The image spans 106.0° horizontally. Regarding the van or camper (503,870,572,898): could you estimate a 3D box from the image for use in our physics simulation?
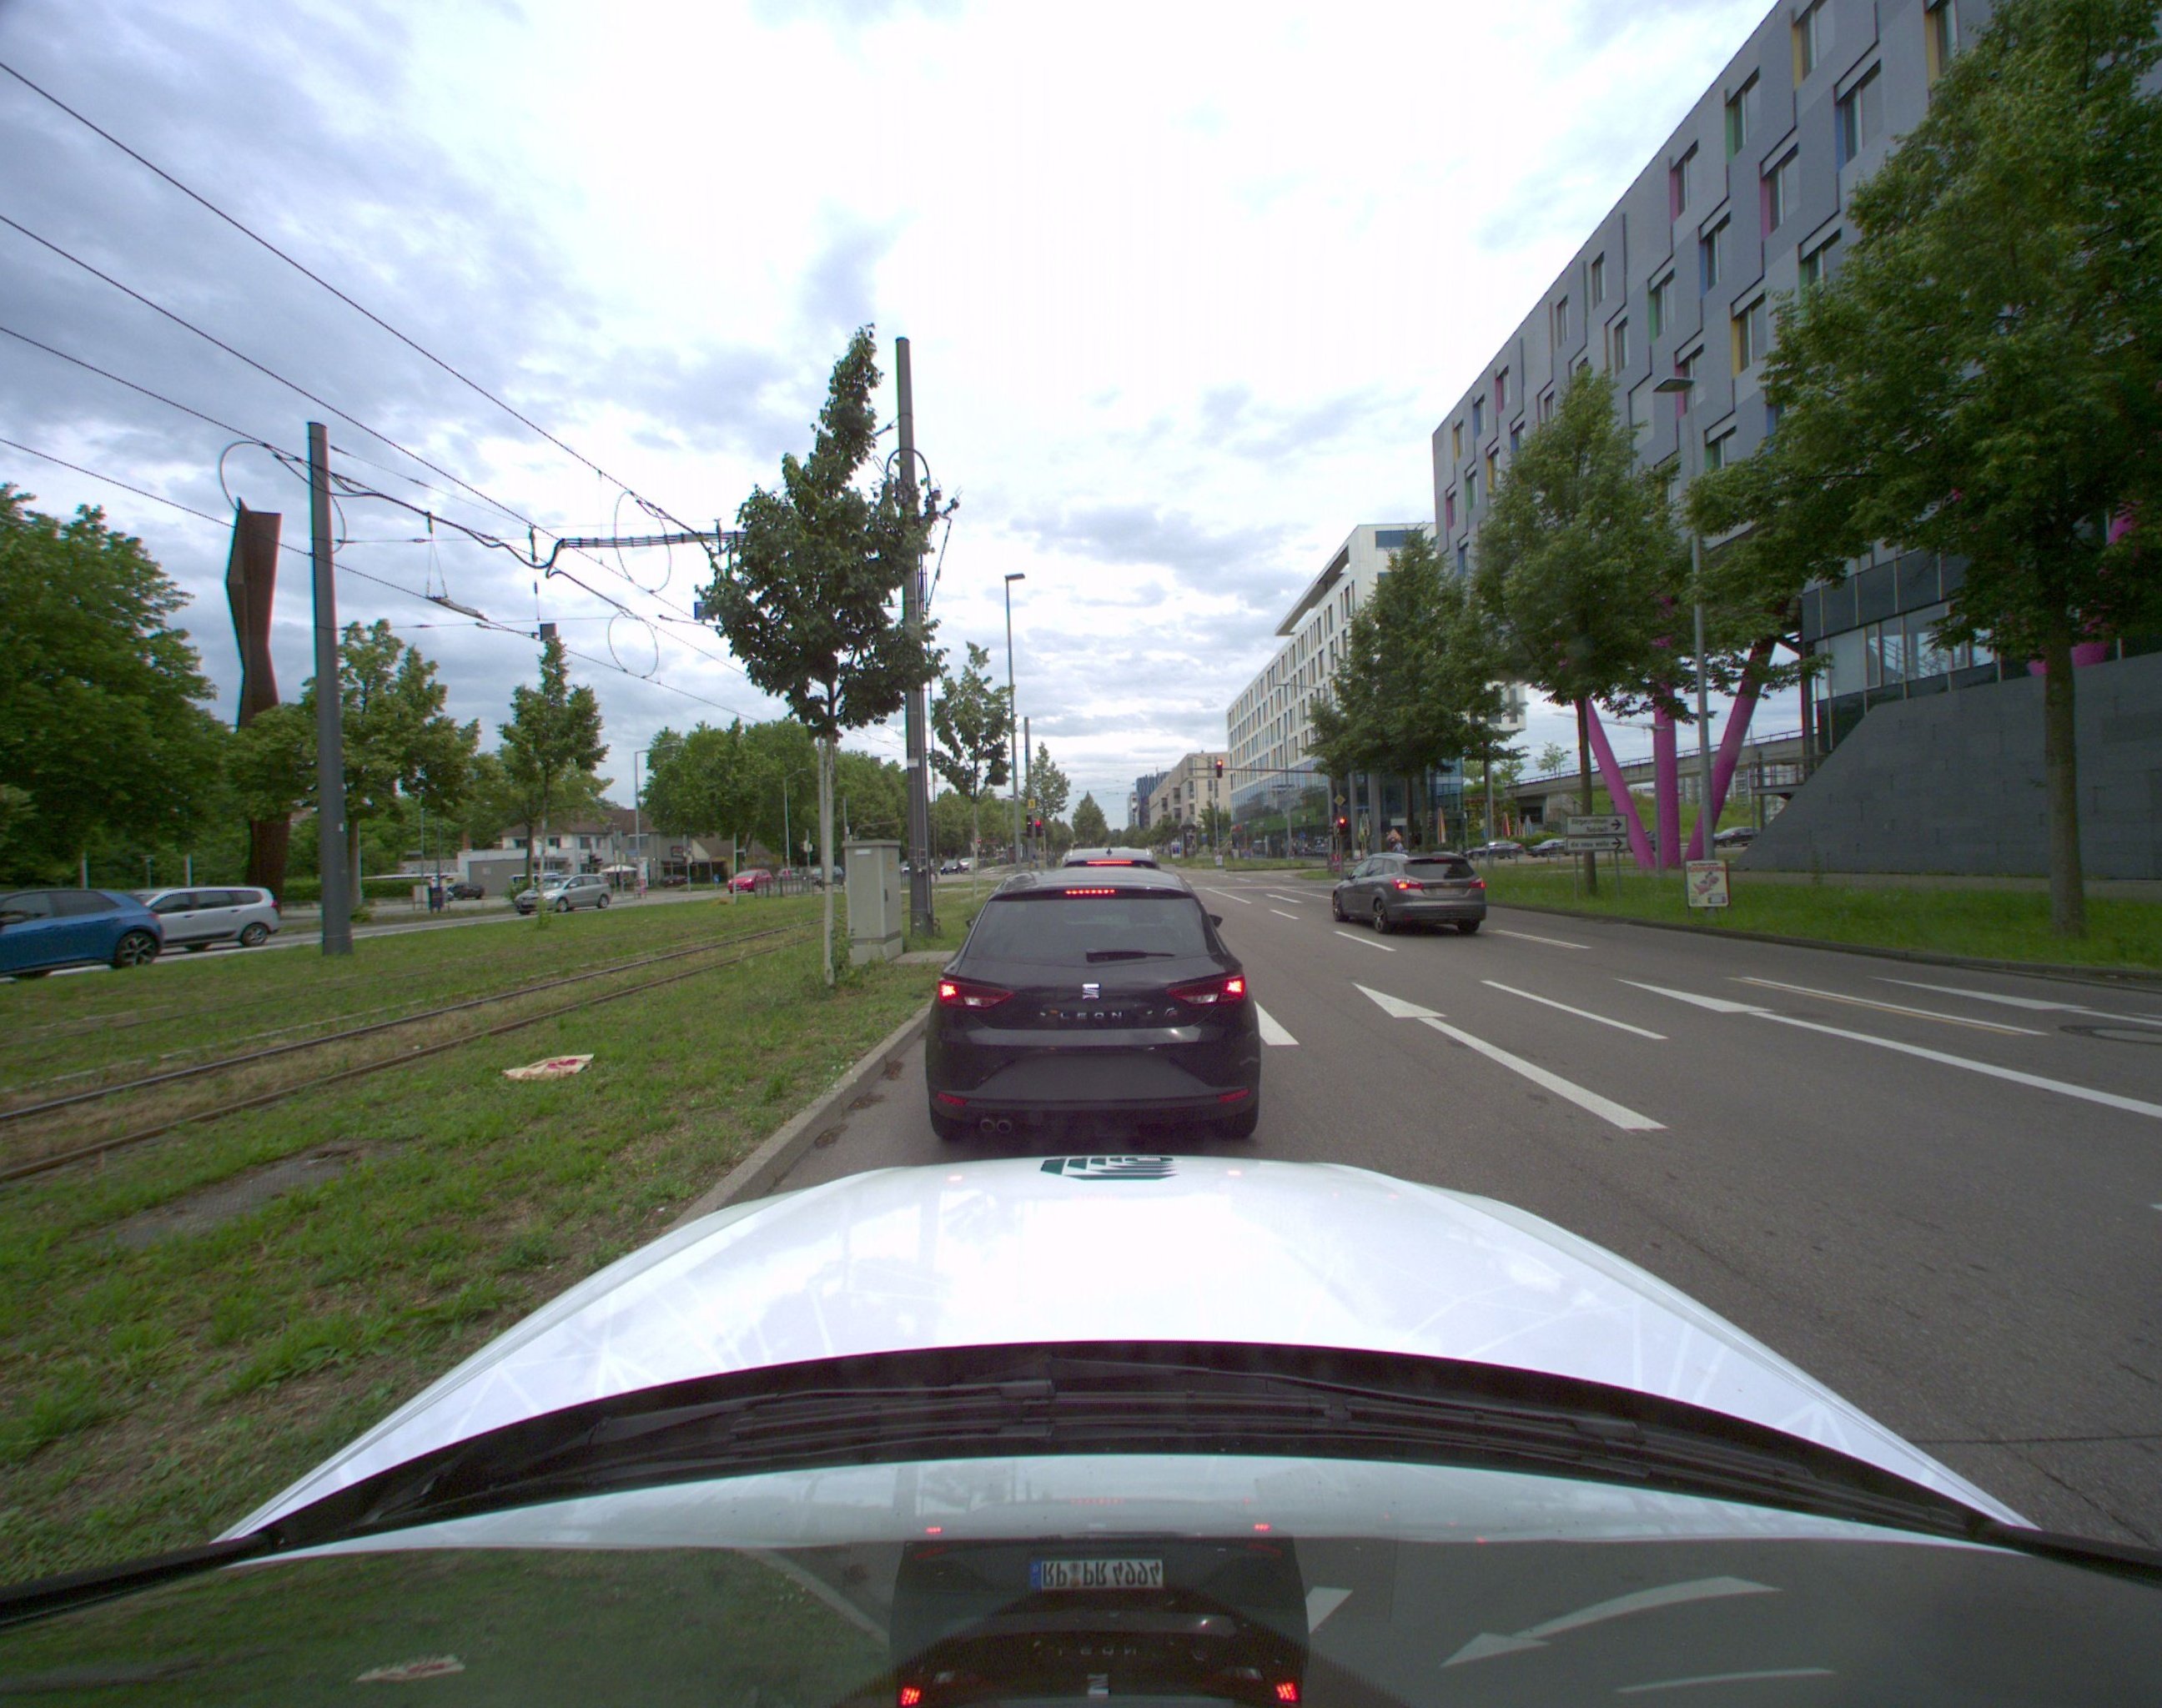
[{"bbox_3d":[-41.619,2.292,62.327,5.212,2.013,2.481,-2,0,34],"label":"van or camper"}]

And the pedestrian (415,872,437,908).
[{"bbox_3d":[-37.311,2.036,46.373,0.910,2.013,0.942,-2,0,-40],"label":"pedestrian"}]

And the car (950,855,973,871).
[{"bbox_3d":[-14.087,1.075,96.110,1.987,1.750,4.201,-2,0,1],"label":"car"}]

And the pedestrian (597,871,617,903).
[{"bbox_3d":[-27.566,1.898,47.330,0.779,1.832,0.771,-2,0,-16],"label":"pedestrian"}]

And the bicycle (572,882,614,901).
[{"bbox_3d":[-35.302,2.682,58.989,2.520,1.202,0.734,-2,0,-25],"label":"bicycle"}]

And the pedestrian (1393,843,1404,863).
[{"bbox_3d":[25.703,-0.107,65.847,0.612,1.604,0.619,-2,0,4],"label":"pedestrian"}]

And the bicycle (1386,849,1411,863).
[{"bbox_3d":[25.692,0.157,65.850,1.784,1.085,0.618,-2,0,3],"label":"bicycle"}]

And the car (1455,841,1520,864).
[{"bbox_3d":[31.847,-0.101,63.858,4.233,1.615,1.759,-2,0,3],"label":"car"}]

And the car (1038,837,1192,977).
[{"bbox_3d":[0.472,0.631,11.812,1.796,1.624,4.002,-2,0,2],"label":"car"}]

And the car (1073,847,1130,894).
[{"bbox_3d":[0.849,0.582,31.263,1.985,1.682,4.005,-1,0,4],"label":"car"}]

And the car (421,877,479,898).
[{"bbox_3d":[-59.743,3.161,77.114,3.969,1.849,2.002,-2,0,4],"label":"car"}]

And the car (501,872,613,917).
[{"bbox_3d":[-22.384,1.676,35.030,1.715,1.643,4.674,-2,0,0],"label":"car"}]

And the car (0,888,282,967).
[{"bbox_3d":[-22.634,1.676,19.835,1.790,1.571,4.578,0,-1,0],"label":"car"}]

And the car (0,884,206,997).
[{"bbox_3d":[-17.515,1.400,13.187,1.962,1.588,4.677,-1,0,-7],"label":"car"}]

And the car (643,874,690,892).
[{"bbox_3d":[-47.137,3.321,92.709,4.258,1.816,2.111,-2,0,6],"label":"car"}]

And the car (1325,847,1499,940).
[{"bbox_3d":[6.282,0.657,15.999,1.741,1.499,4.270,-2,1,1],"label":"car"}]

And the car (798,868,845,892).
[{"bbox_3d":[-18.021,1.763,56.736,1.658,1.426,4.746,-3,0,1],"label":"car"}]

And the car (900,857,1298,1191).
[{"bbox_3d":[0.115,0.756,5.590,1.737,1.417,4.001,-1,0,1],"label":"car"}]

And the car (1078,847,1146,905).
[{"bbox_3d":[1.078,0.641,26.193,1.984,1.682,4.005,-1,0,5],"label":"car"}]

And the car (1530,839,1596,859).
[{"bbox_3d":[37.863,-0.396,64.035,4.063,1.455,1.759,-2,0,3],"label":"car"}]

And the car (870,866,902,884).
[{"bbox_3d":[-17.620,1.881,73.593,1.795,1.377,4.058,-2,0,1],"label":"car"}]

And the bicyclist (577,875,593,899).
[{"bbox_3d":[-35.795,2.375,58.759,0.854,1.721,0.715,-2,0,-25],"label":"bicyclist"}]

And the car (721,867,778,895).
[{"bbox_3d":[-21.843,1.748,53.838,1.789,1.570,4.331,-2,0,3],"label":"car"}]

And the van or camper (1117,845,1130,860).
[{"bbox_3d":[7.433,-0.313,141.873,2.101,2.355,4.927,-1,2,2],"label":"van or camper"}]

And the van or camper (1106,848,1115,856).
[{"bbox_3d":[6.320,-0.464,173.327,1.986,1.615,4.792,-1,1,2],"label":"van or camper"}]
